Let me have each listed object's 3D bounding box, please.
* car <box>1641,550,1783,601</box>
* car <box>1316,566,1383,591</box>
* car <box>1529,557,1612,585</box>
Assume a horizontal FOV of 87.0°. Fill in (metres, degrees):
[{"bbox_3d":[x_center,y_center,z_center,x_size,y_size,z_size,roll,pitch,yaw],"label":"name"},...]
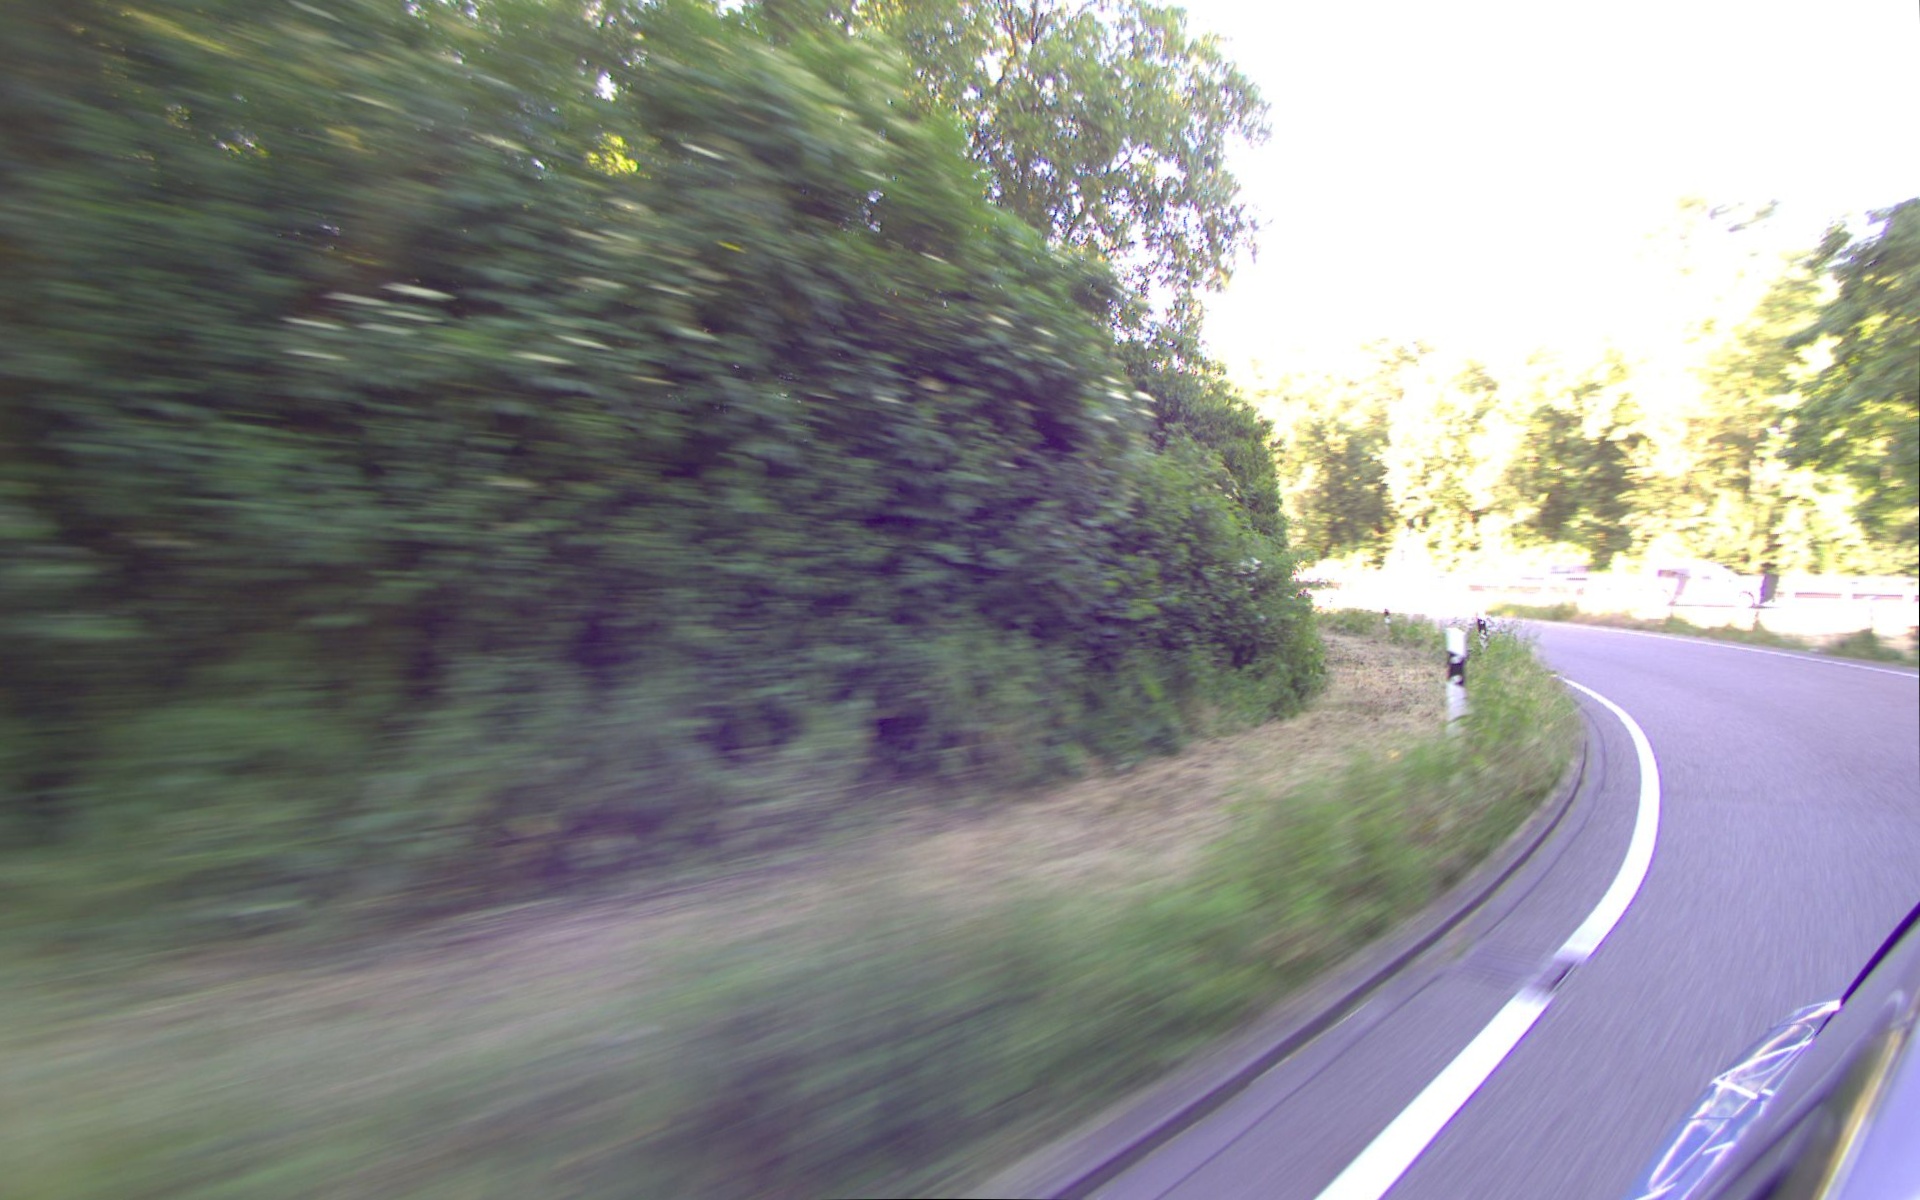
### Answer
[{"bbox_3d":[30.089,-0.963,40.590,1.906,1.888,4.339,-5,3,-44],"label":"car"},{"bbox_3d":[25.651,-1.409,66.759,1.902,1.642,3.701,-2,1,-39],"label":"car"},{"bbox_3d":[34.743,-1.639,57.655,1.717,1.562,3.701,-2,1,-39],"label":"car"}]
